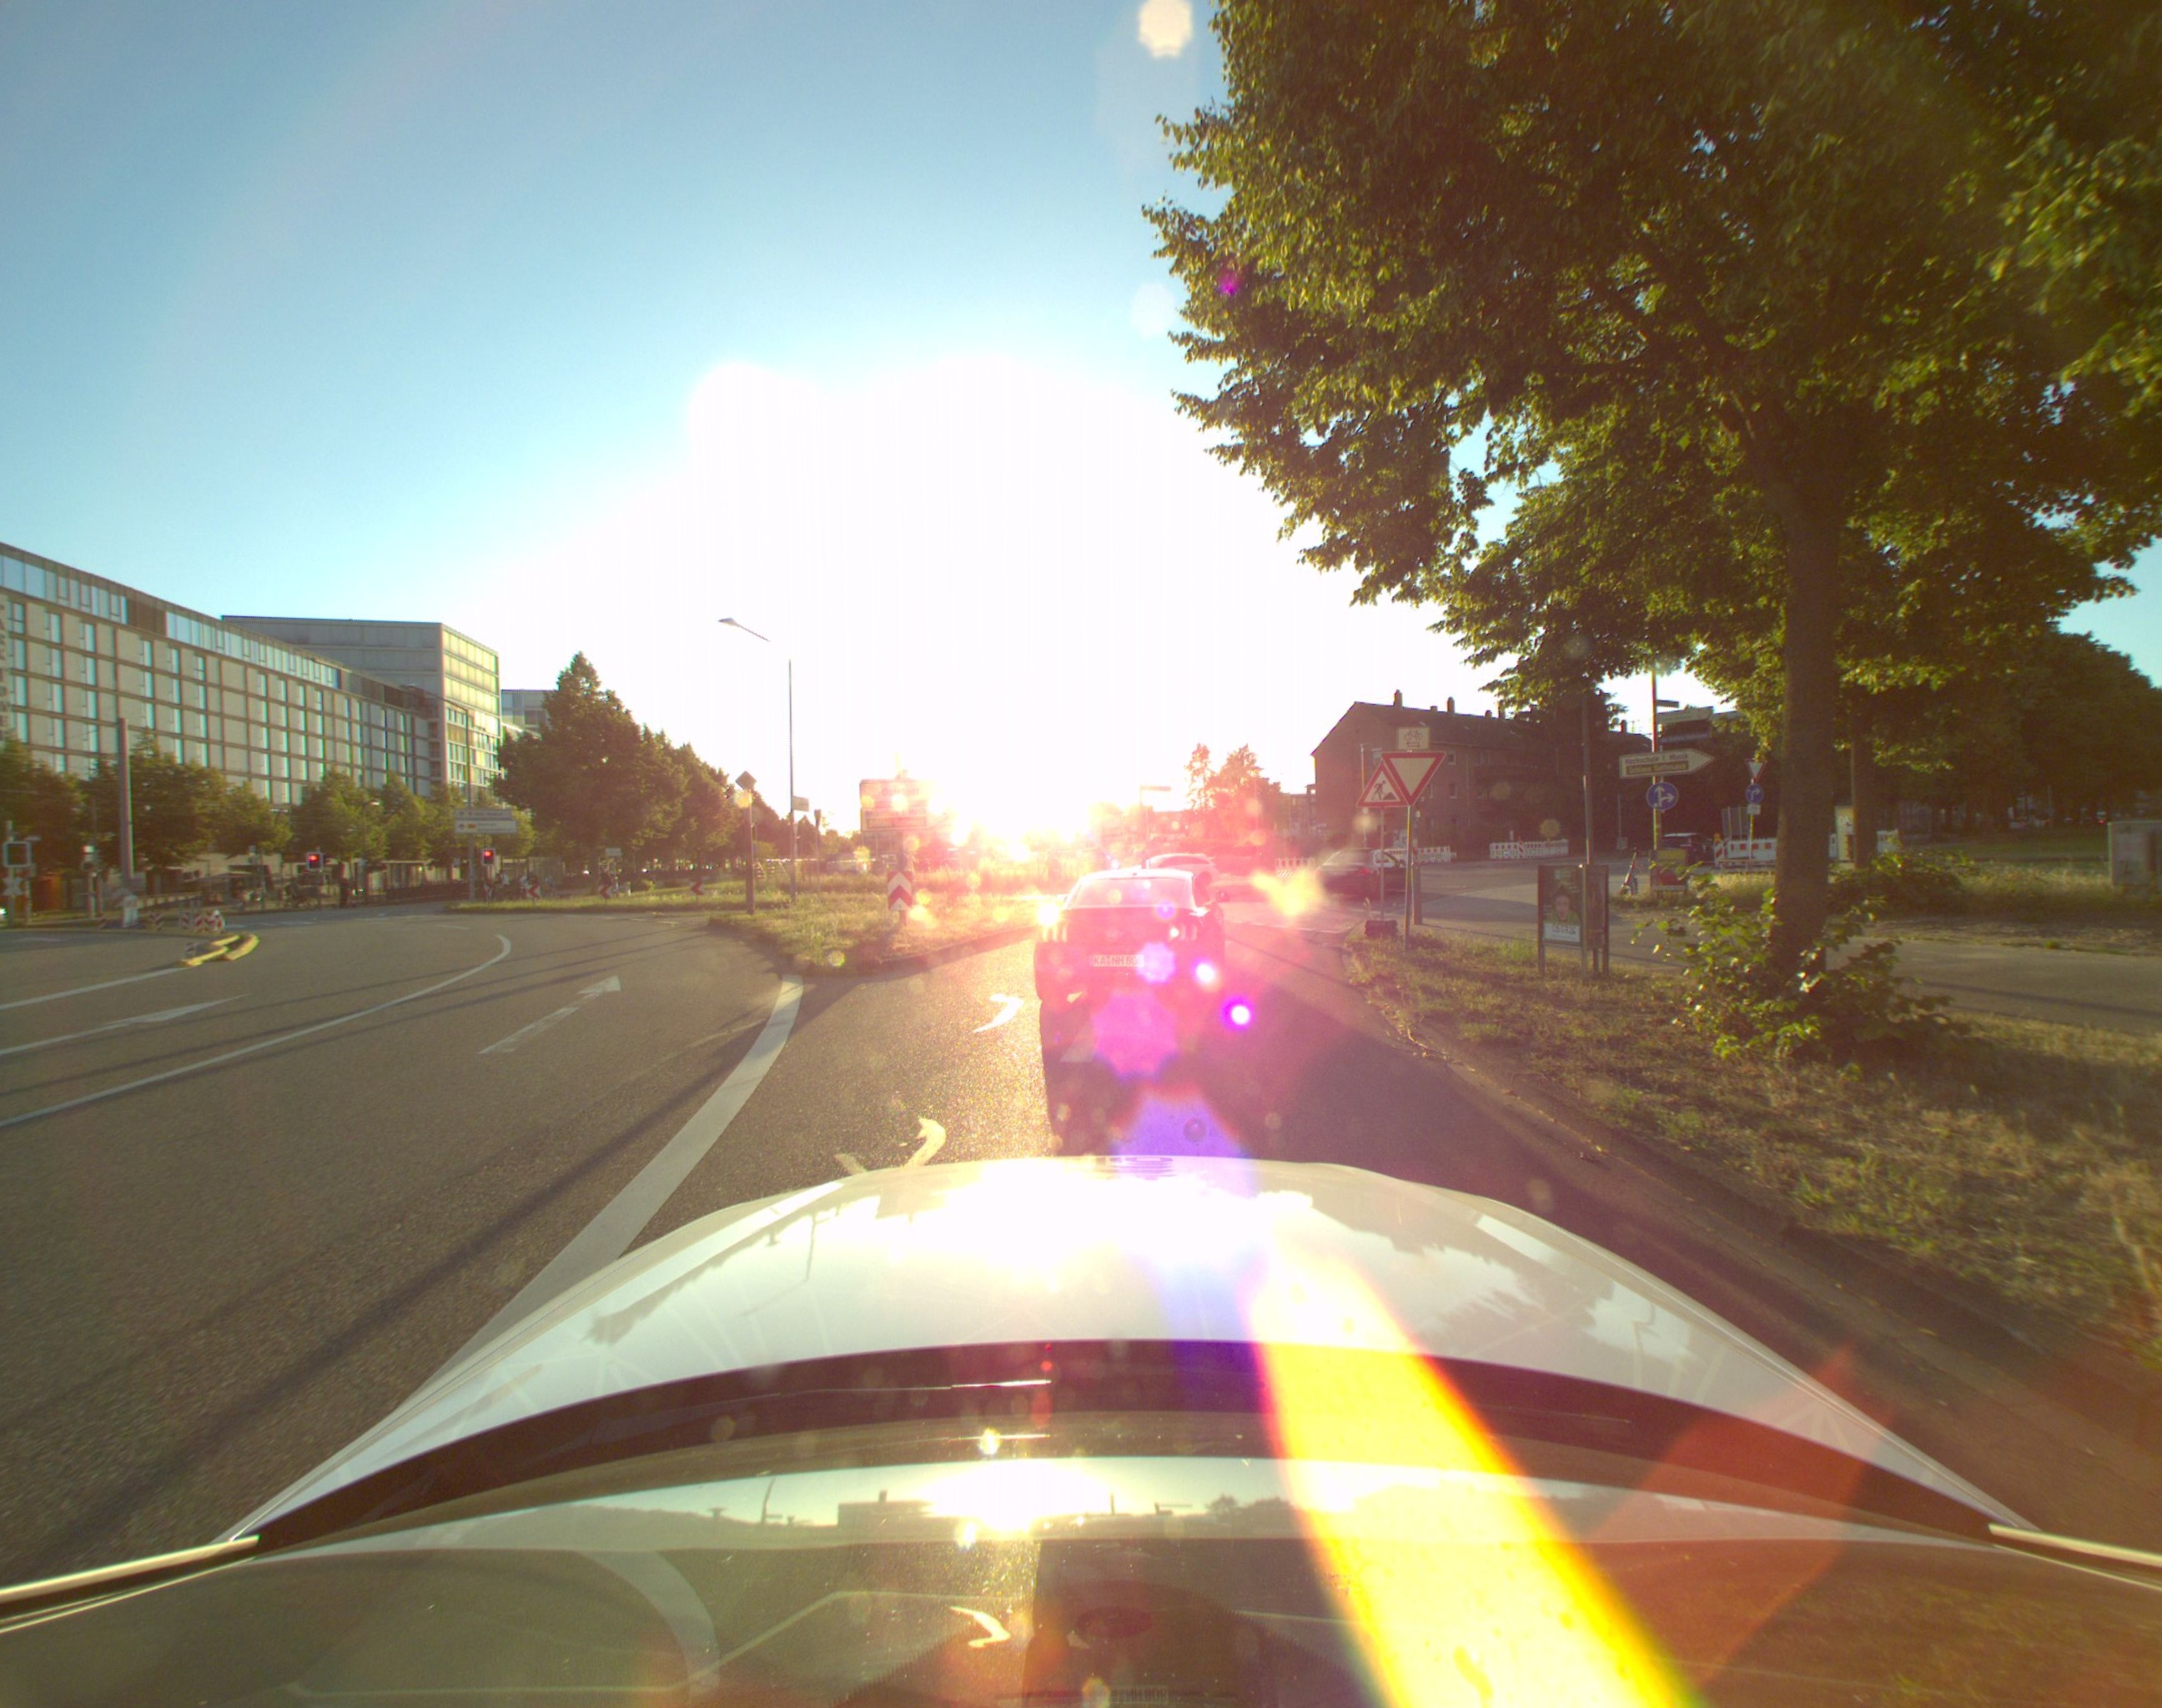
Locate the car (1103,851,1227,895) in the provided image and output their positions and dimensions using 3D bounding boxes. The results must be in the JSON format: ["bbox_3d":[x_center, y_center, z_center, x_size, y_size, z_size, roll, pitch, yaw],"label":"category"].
[{"bbox_3d":[3.493,0.723,33.648,4.665,1.453,2.058,-4,2,-25],"label":"car"}]

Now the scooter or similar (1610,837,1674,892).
[{"bbox_3d":[13.012,0.237,18.907,1.114,1.238,0.443,-2,0,5],"label":"scooter or similar"}]

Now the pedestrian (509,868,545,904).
[{"bbox_3d":[-29.371,1.706,43.203,1.151,1.827,0.982,-2,0,8],"label":"pedestrian"}]

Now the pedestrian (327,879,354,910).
[{"bbox_3d":[-42.004,2.283,46.204,0.888,1.707,0.789,-2,0,-20],"label":"pedestrian"}]

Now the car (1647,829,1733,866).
[{"bbox_3d":[30.148,-0.332,40.315,4.090,1.602,1.939,-4,2,-30],"label":"car"}]

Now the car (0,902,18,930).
[{"bbox_3d":[-62.621,3.572,44.847,1.995,1.544,5.181,-2,0,-11],"label":"car"}]

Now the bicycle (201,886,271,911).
[{"bbox_3d":[-43.763,2.290,42.206,2.412,1.167,0.749,-2,0,-23],"label":"bicycle"}]

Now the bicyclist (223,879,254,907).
[{"bbox_3d":[-43.715,2.027,42.271,0.880,1.392,0.749,-2,0,-23],"label":"bicyclist"}]

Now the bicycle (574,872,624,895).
[{"bbox_3d":[-26.028,1.574,43.984,2.386,1.167,0.757,-2,0,11],"label":"bicycle"}]

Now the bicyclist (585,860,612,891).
[{"bbox_3d":[-26.031,1.158,43.964,0.968,1.612,0.757,-2,0,11],"label":"bicyclist"}]

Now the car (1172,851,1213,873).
[{"bbox_3d":[9.274,0.637,68.028,1.997,1.706,3.979,-2,0,-15],"label":"car"}]

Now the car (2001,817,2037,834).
[{"bbox_3d":[95.085,-2.892,82.560,4.094,1.602,1.937,-2,1,-35],"label":"car"}]

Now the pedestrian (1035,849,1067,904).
[{"bbox_3d":[-0.947,0.698,25.606,0.843,1.686,0.884,-2,0,-10],"label":"pedestrian"}]

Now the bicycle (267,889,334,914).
[{"bbox_3d":[-41.486,2.521,43.322,2.414,1.167,0.748,-2,0,-26],"label":"bicycle"}]

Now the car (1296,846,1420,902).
[{"bbox_3d":[8.343,0.535,24.284,1.932,1.427,4.457,-1,1,41],"label":"car"}]

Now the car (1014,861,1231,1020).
[{"bbox_3d":[0.720,0.805,9.677,1.940,1.342,4.682,-1,0,9],"label":"car"}]

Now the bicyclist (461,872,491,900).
[{"bbox_3d":[-32.029,1.699,43.140,0.975,1.394,0.752,-2,0,-8],"label":"bicyclist"}]

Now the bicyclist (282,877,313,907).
[{"bbox_3d":[-41.634,2.028,43.273,0.980,1.525,0.748,-2,0,-26],"label":"bicyclist"}]

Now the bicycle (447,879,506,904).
[{"bbox_3d":[-32.032,1.987,43.158,2.400,1.167,0.752,-2,0,-9],"label":"bicycle"}]
